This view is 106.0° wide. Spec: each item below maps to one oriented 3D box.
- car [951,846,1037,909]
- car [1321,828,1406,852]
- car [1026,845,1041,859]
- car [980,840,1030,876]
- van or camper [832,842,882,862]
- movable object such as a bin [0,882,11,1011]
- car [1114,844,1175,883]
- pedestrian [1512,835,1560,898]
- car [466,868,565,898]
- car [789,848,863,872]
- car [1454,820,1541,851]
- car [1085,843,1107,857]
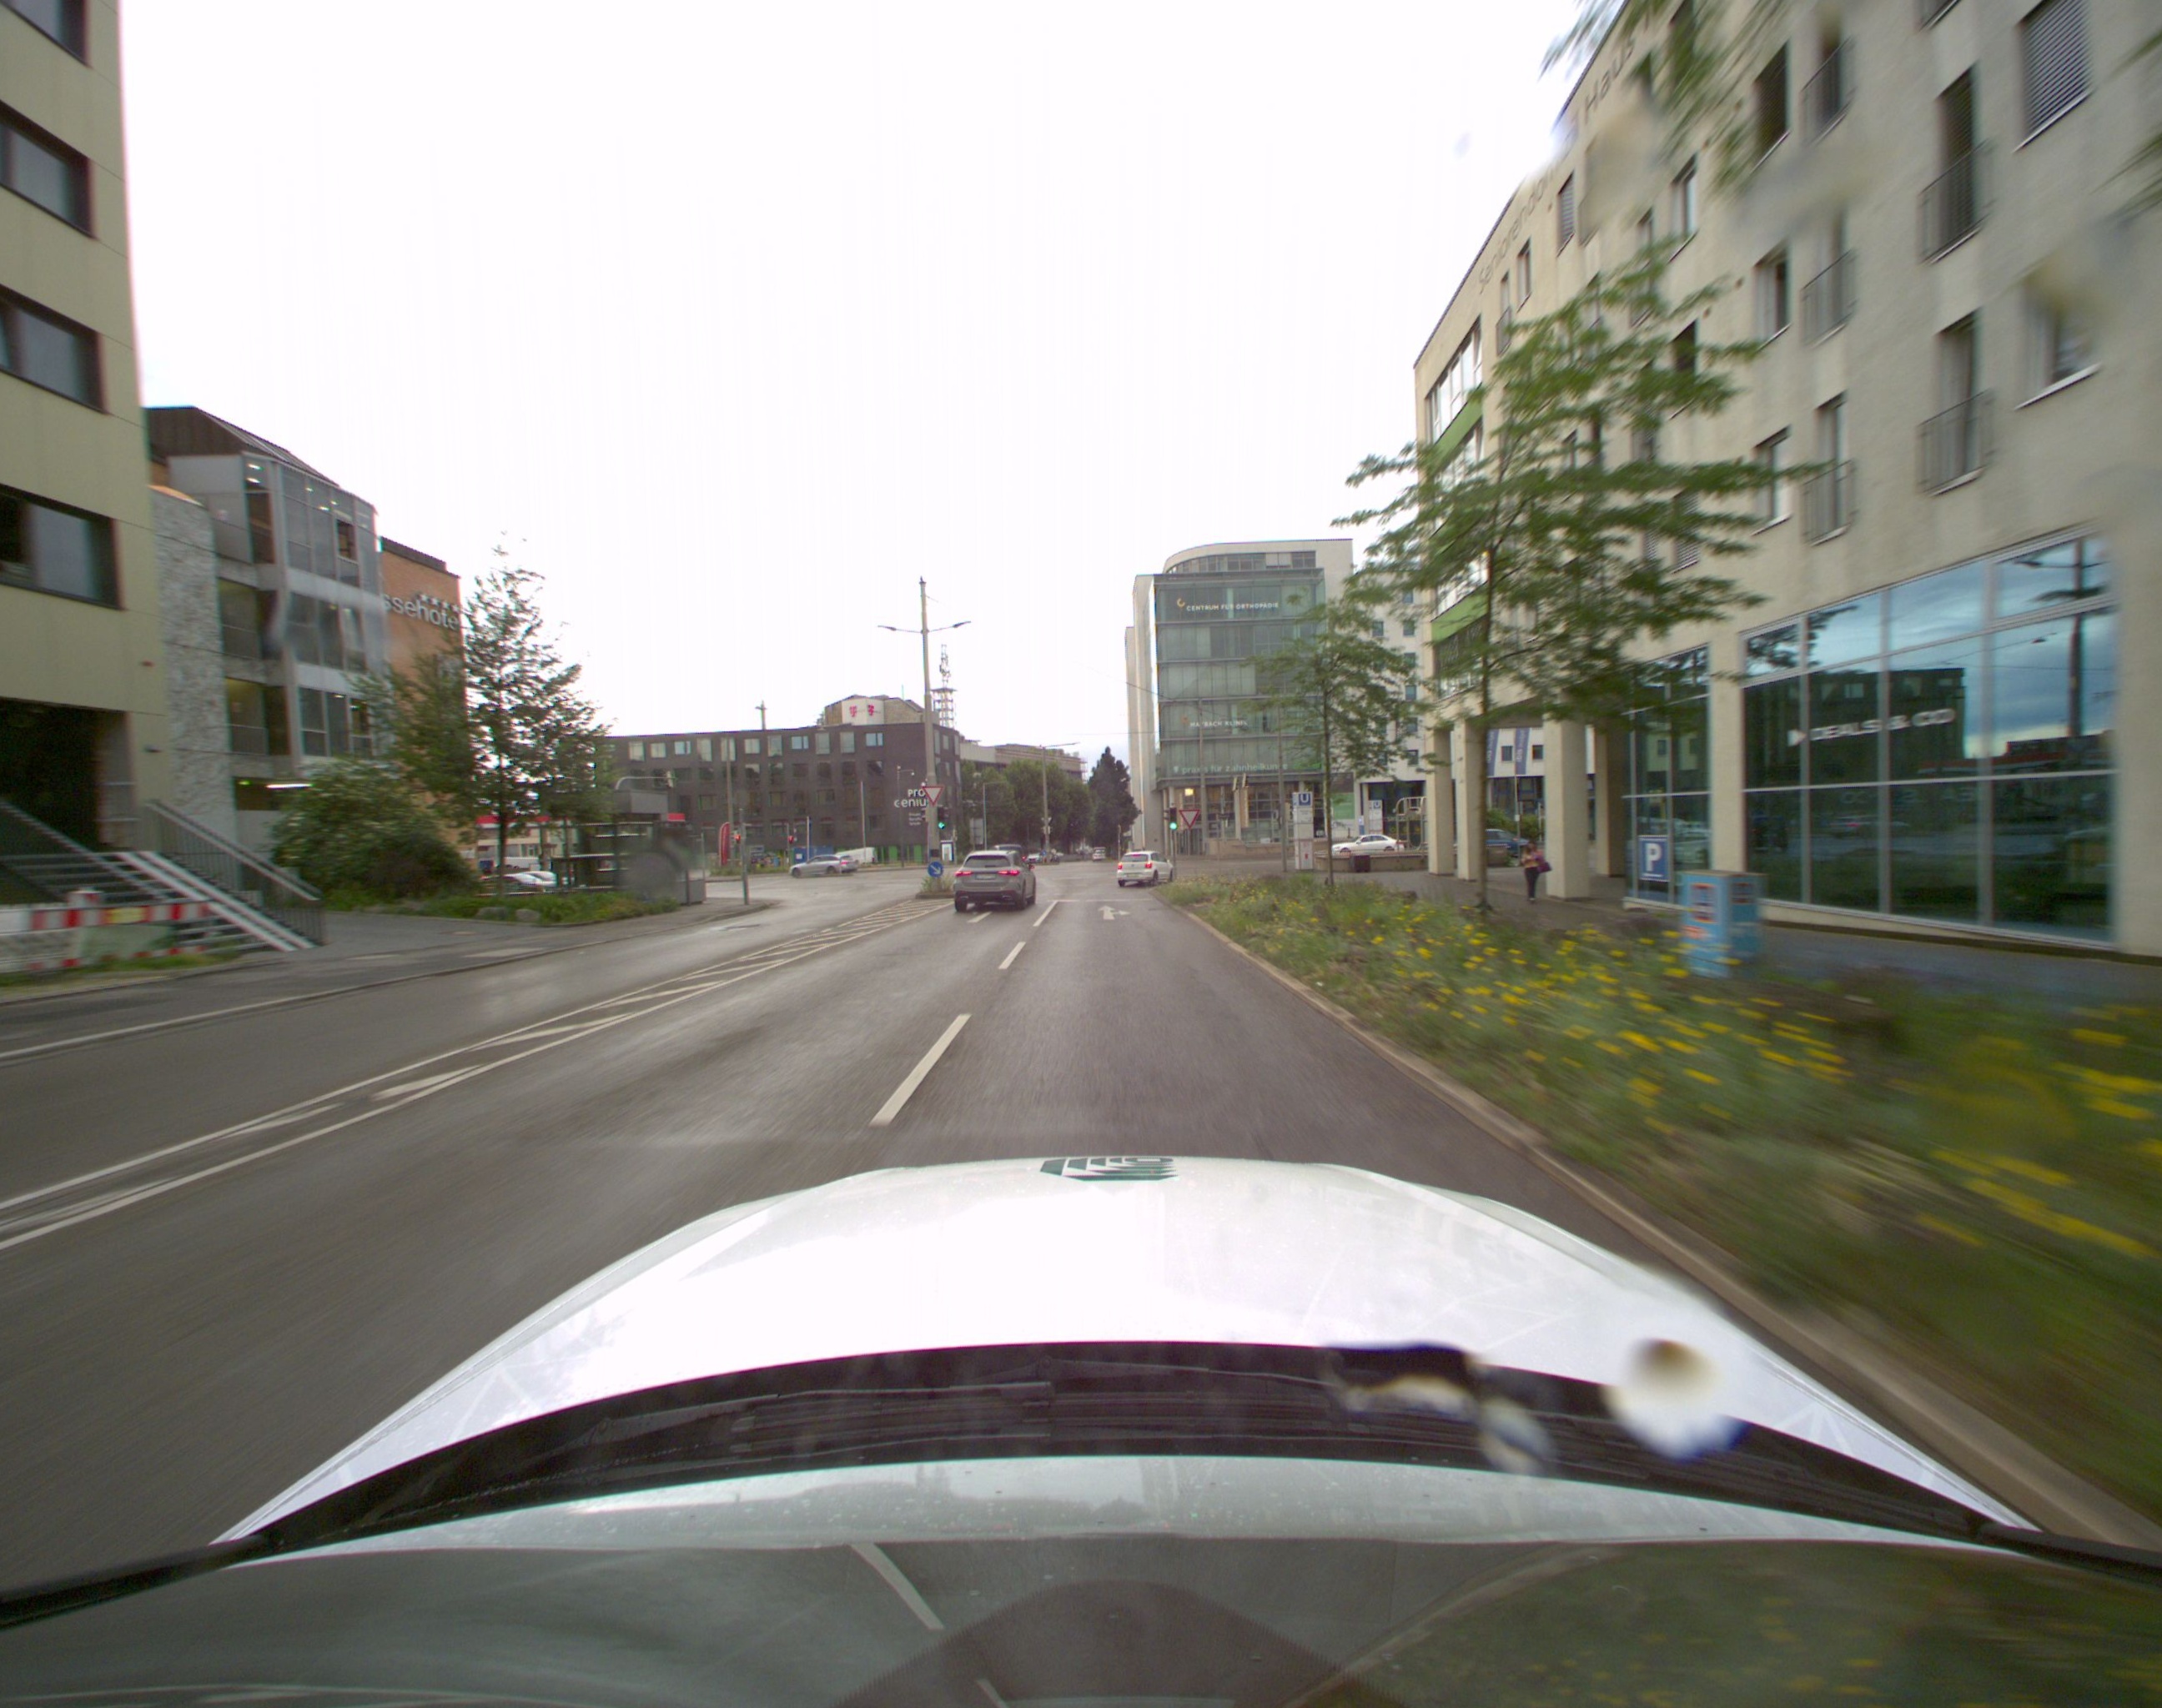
[{"bbox_3d":[-2.374,0.595,23.281,1.901,1.632,4.212,0,0,2],"label":"car"},{"bbox_3d":[18.392,-0.905,53.096,4.932,1.387,1.823,-2,1,-1],"label":"car"},{"bbox_3d":[-7.267,-0.324,124.129,1.987,2.014,4.000,0,0,0],"label":"car"},{"bbox_3d":[-4.105,0.201,43.360,1.856,1.768,4.108,-2,1,-16],"label":"car"},{"bbox_3d":[-27.634,-0.251,100.523,5.312,2.369,2.739,0,0,0],"label":"van or camper"},{"bbox_3d":[-12.776,1.039,8.626,1.050,1.445,1.359,1,0,3],"label":"movable object such as a bin"},{"bbox_3d":[2.827,0.373,35.607,1.657,1.473,3.799,-1,3,20],"label":"car"},{"bbox_3d":[12.542,0.324,22.499,0.867,1.712,1.091,0,1,11],"label":"pedestrian"},{"bbox_3d":[-29.931,1.531,43.161,3.973,1.321,1.651,-2,3,0],"label":"car"},{"bbox_3d":[-17.416,0.418,55.656,4.440,1.579,2.010,0,0,18],"label":"car"},{"bbox_3d":[23.724,-1.075,46.435,3.980,1.573,1.997,-2,2,-5],"label":"car"},{"bbox_3d":[1.834,-0.477,98.628,1.993,1.717,3.988,0,0,-9],"label":"car"}]
